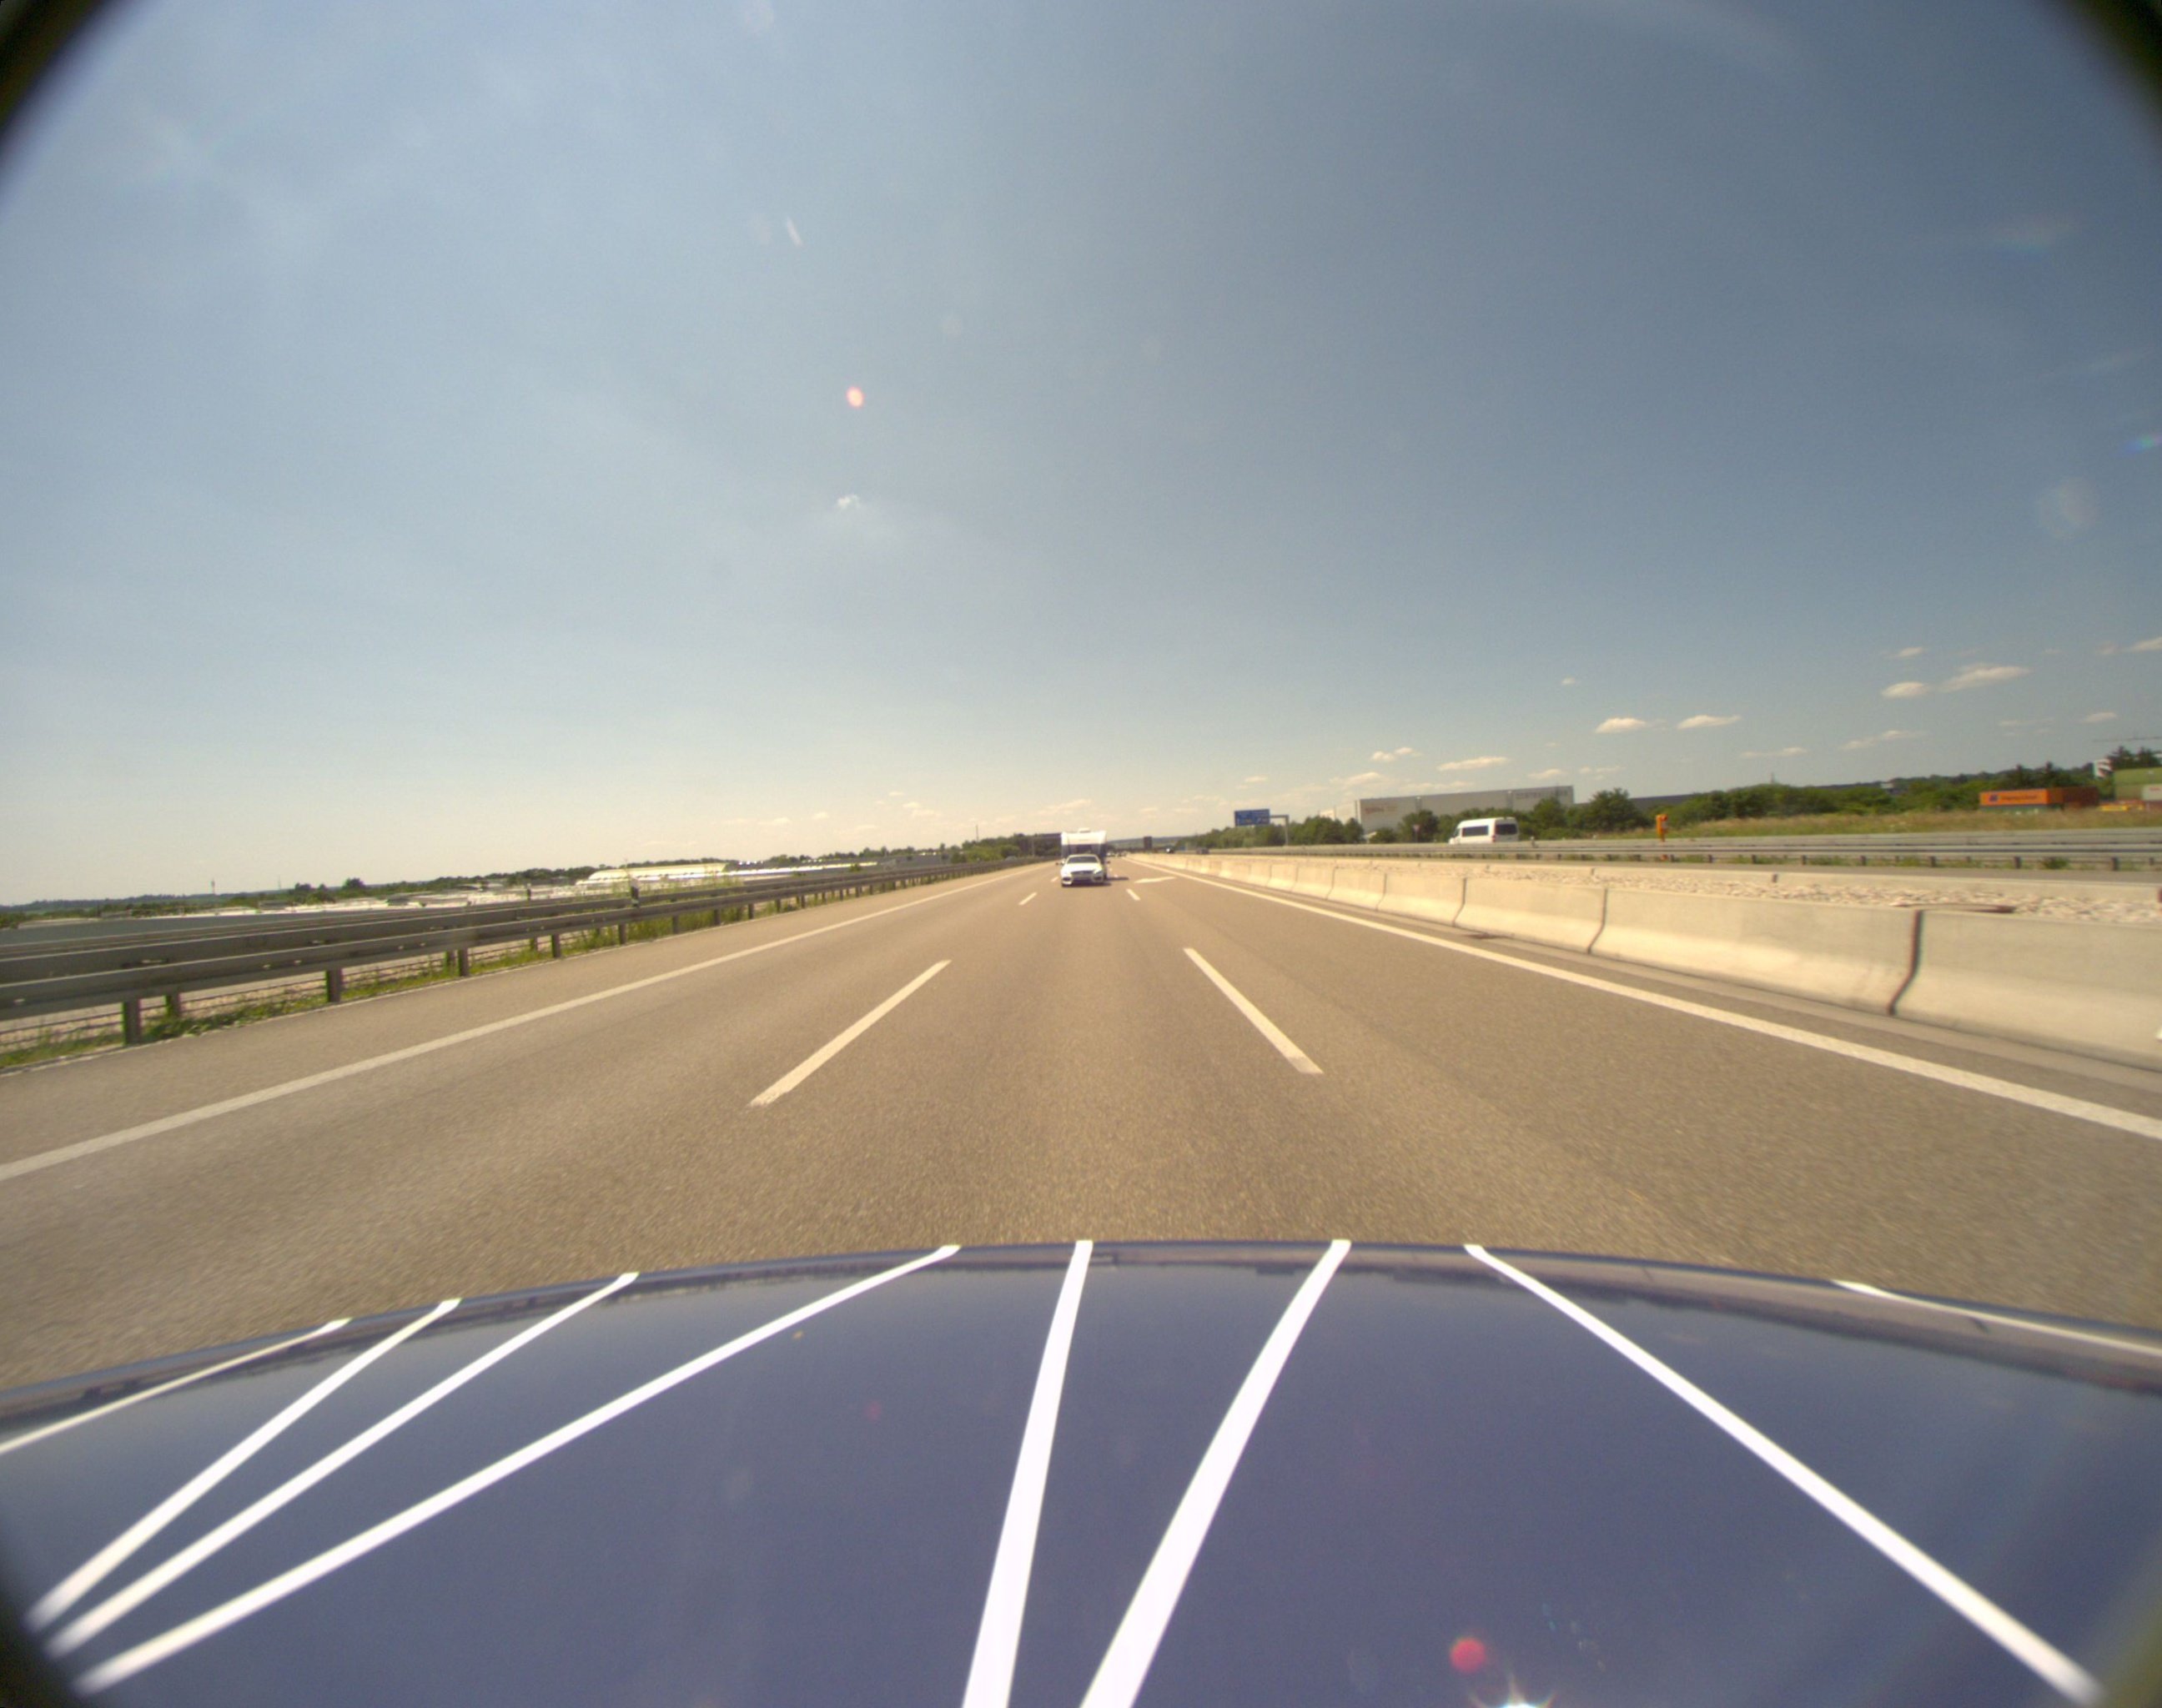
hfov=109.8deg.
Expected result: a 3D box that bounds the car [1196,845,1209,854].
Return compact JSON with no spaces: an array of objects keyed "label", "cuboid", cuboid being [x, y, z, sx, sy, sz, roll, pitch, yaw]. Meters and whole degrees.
[{"label":"car","cuboid":[22.995,-0.872,144.200,1.796,1.541,4.000,-2,0,1]}]

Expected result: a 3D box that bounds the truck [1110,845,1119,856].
[{"label":"truck","cuboid":[9.500,-1.049,213.145,2.168,2.797,6.491,-2,0,4]}]

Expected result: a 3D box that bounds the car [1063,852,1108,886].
[{"label":"car","cuboid":[0.226,0.633,33.912,1.873,1.352,3.672,-1,1,1]}]

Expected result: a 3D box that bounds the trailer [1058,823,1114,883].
[{"label":"trailer","cuboid":[0.333,-0.077,39.205,2.500,2.686,7.154,-2,1,1]}]

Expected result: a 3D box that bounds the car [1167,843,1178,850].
[{"label":"car","cuboid":[20.414,-1.662,169.699,2.036,1.464,4.371,-2,1,3]}]

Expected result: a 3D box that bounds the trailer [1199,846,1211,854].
[{"label":"trailer","cuboid":[22.881,-0.785,140.323,1.760,1.427,3.683,-1,1,2]}]

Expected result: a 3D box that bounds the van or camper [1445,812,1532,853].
[{"label":"van or camper","cuboid":[30.887,-1.591,57.961,2.552,2.805,7.541,-2,1,0]}]
